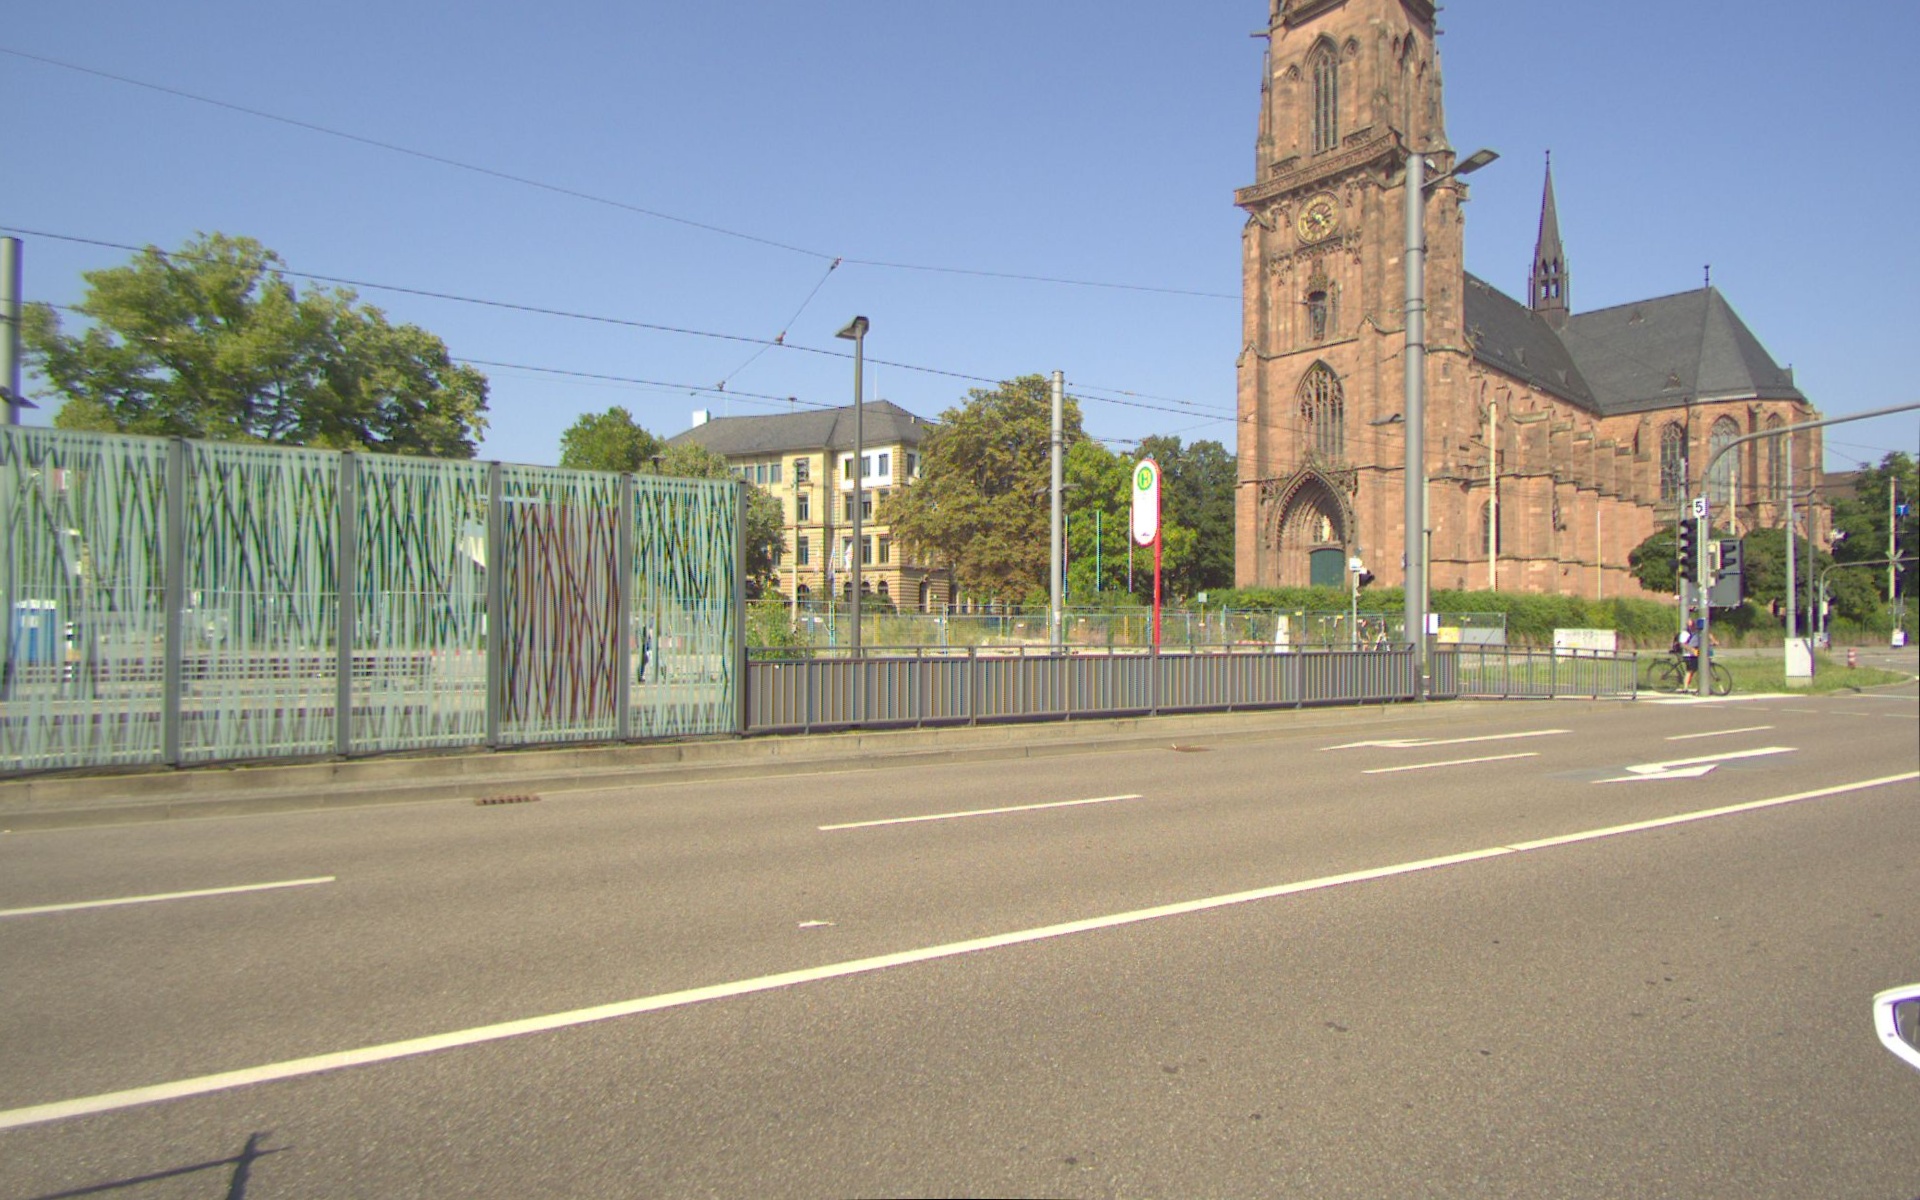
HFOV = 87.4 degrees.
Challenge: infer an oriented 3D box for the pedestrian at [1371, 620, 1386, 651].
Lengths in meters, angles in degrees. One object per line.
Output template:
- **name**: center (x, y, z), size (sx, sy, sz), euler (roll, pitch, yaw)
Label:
- **pedestrian**: center (21.669, 1.847, 51.976), size (0.534, 1.596, 0.659), euler (-1, -2, 41)

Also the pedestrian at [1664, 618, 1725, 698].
- **pedestrian**: center (16.042, 1.243, 21.956), size (0.595, 1.701, 0.912), euler (1, -1, -30)

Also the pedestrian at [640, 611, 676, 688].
- **pedestrian**: center (-6.865, 1.115, 22.829), size (0.657, 1.723, 0.515), euler (1, -1, -30)

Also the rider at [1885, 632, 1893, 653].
- **rider**: center (65.154, 2.993, 70.445), size (0.246, 1.450, 0.306), euler (1, -1, -20)

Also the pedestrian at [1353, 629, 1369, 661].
- **pedestrian**: center (19.805, 2.227, 49.616), size (0.546, 1.596, 0.489), euler (1, -1, -30)

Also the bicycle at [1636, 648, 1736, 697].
- **bicycle**: center (15.973, 1.574, 22.139), size (0.474, 0.991, 1.750), euler (1, -2, -30)
